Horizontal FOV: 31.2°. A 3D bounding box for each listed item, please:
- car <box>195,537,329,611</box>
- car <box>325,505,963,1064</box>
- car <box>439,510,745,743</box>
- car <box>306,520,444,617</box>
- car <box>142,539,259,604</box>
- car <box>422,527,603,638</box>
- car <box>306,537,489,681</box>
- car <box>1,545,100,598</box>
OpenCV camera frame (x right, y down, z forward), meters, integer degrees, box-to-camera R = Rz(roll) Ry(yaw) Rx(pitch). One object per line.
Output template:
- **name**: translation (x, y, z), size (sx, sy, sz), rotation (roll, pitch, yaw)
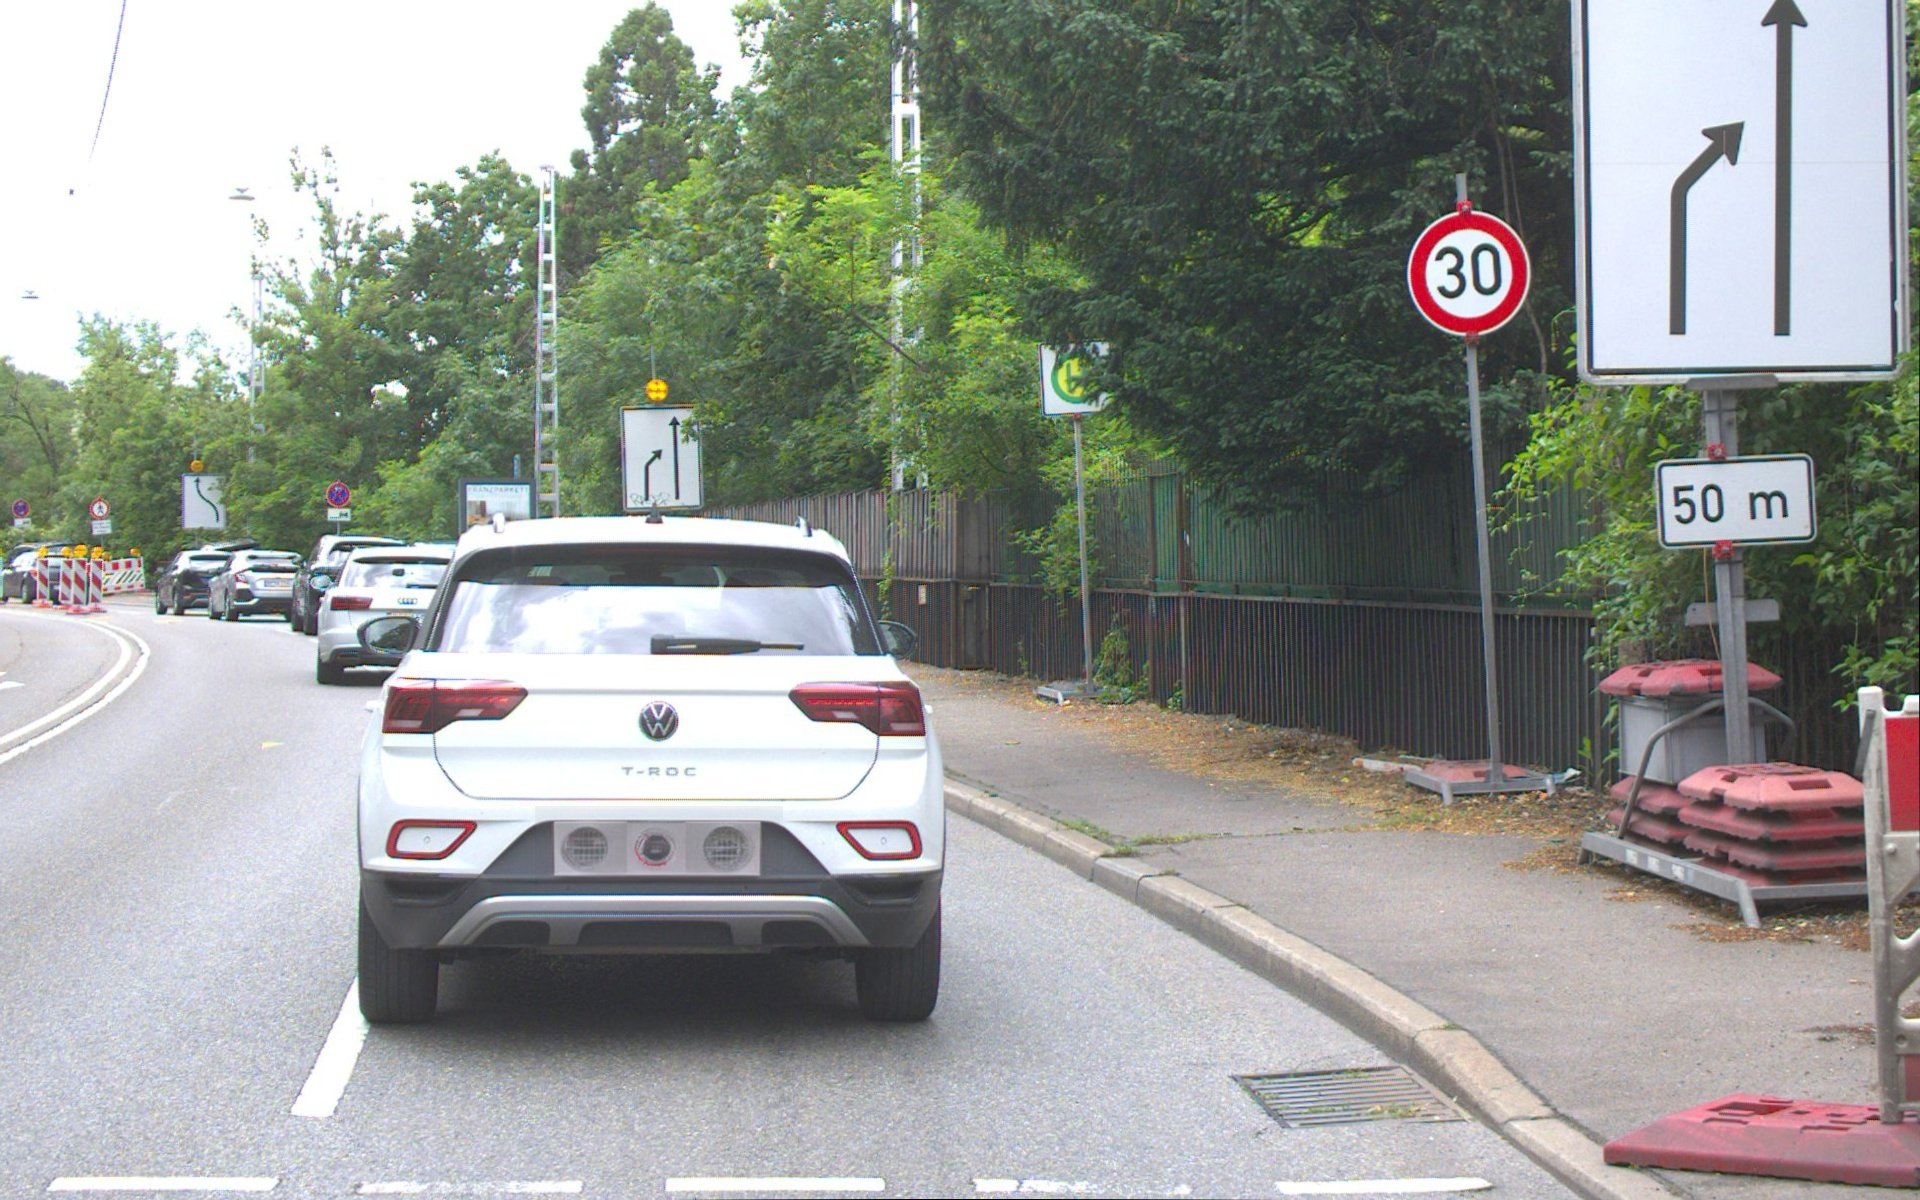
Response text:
- **car**: translation (-14.114, -0.513, 69.337), size (1.993, 1.445, 4.151), rotation (-1, 0, -21)
- **car**: translation (-1.065, 0.513, 11.511), size (1.757, 1.550, 3.796), rotation (1, 0, -6)
- **car**: translation (-2.839, 0.177, 25.833), size (1.757, 1.604, 3.796), rotation (1, 0, -14)
- **car**: translation (-9.798, -0.538, 57.405), size (1.993, 1.551, 4.152), rotation (0, 1, -13)
- **car**: translation (-17.421, -0.638, 78.702), size (1.993, 1.445, 4.151), rotation (-1, 0, -21)
- **car**: translation (-6.103, -0.221, 46.536), size (1.993, 1.409, 4.151), rotation (-1, 0, -13)
- **car**: translation (-6.141, 0.083, 37.248), size (1.757, 1.466, 3.796), rotation (1, 0, -12)
- **car**: translation (-25.403, -0.798, 95.968), size (1.780, 1.449, 4.000), rotation (0, 0, -29)
